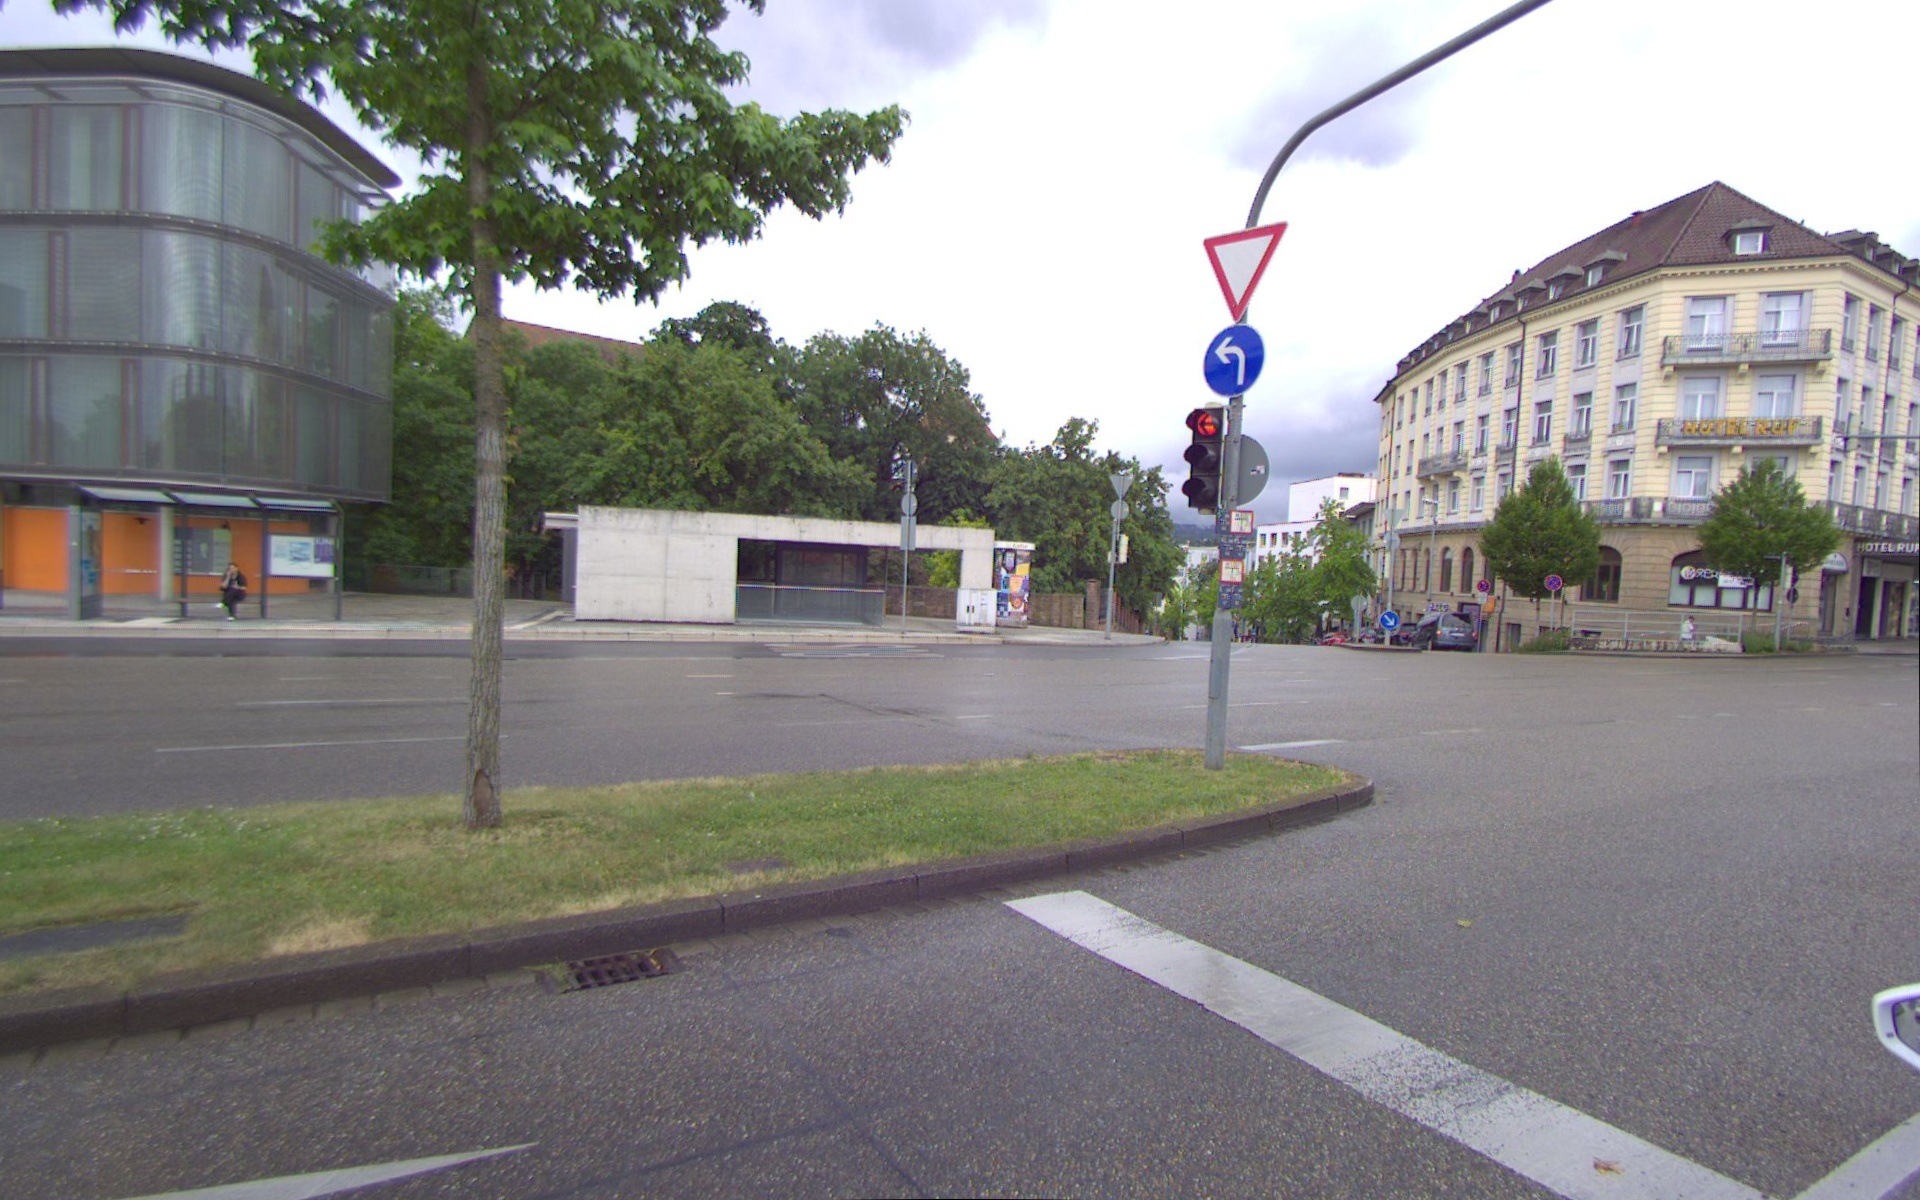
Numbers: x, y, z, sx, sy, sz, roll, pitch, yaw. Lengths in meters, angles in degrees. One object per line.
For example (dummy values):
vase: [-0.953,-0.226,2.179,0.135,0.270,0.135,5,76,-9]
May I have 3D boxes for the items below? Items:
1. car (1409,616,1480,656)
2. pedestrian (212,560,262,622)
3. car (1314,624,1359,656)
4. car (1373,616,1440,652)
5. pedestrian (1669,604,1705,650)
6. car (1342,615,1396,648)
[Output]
car: [21.728,1.578,45.190,1.764,1.589,4.002,2,1,9]
pedestrian: [-16.090,-0.193,22.381,0.780,1.341,0.798,1,1,-28]
car: [23.579,2.480,63.050,1.741,1.836,3.624,2,1,7]
car: [22.900,1.720,51.697,1.959,1.662,4.002,2,0,6]
pedestrian: [30.655,1.123,42.345,1.010,1.903,0.859,1,1,-30]
car: [23.155,1.775,56.996,1.757,1.662,3.916,2,1,6]
